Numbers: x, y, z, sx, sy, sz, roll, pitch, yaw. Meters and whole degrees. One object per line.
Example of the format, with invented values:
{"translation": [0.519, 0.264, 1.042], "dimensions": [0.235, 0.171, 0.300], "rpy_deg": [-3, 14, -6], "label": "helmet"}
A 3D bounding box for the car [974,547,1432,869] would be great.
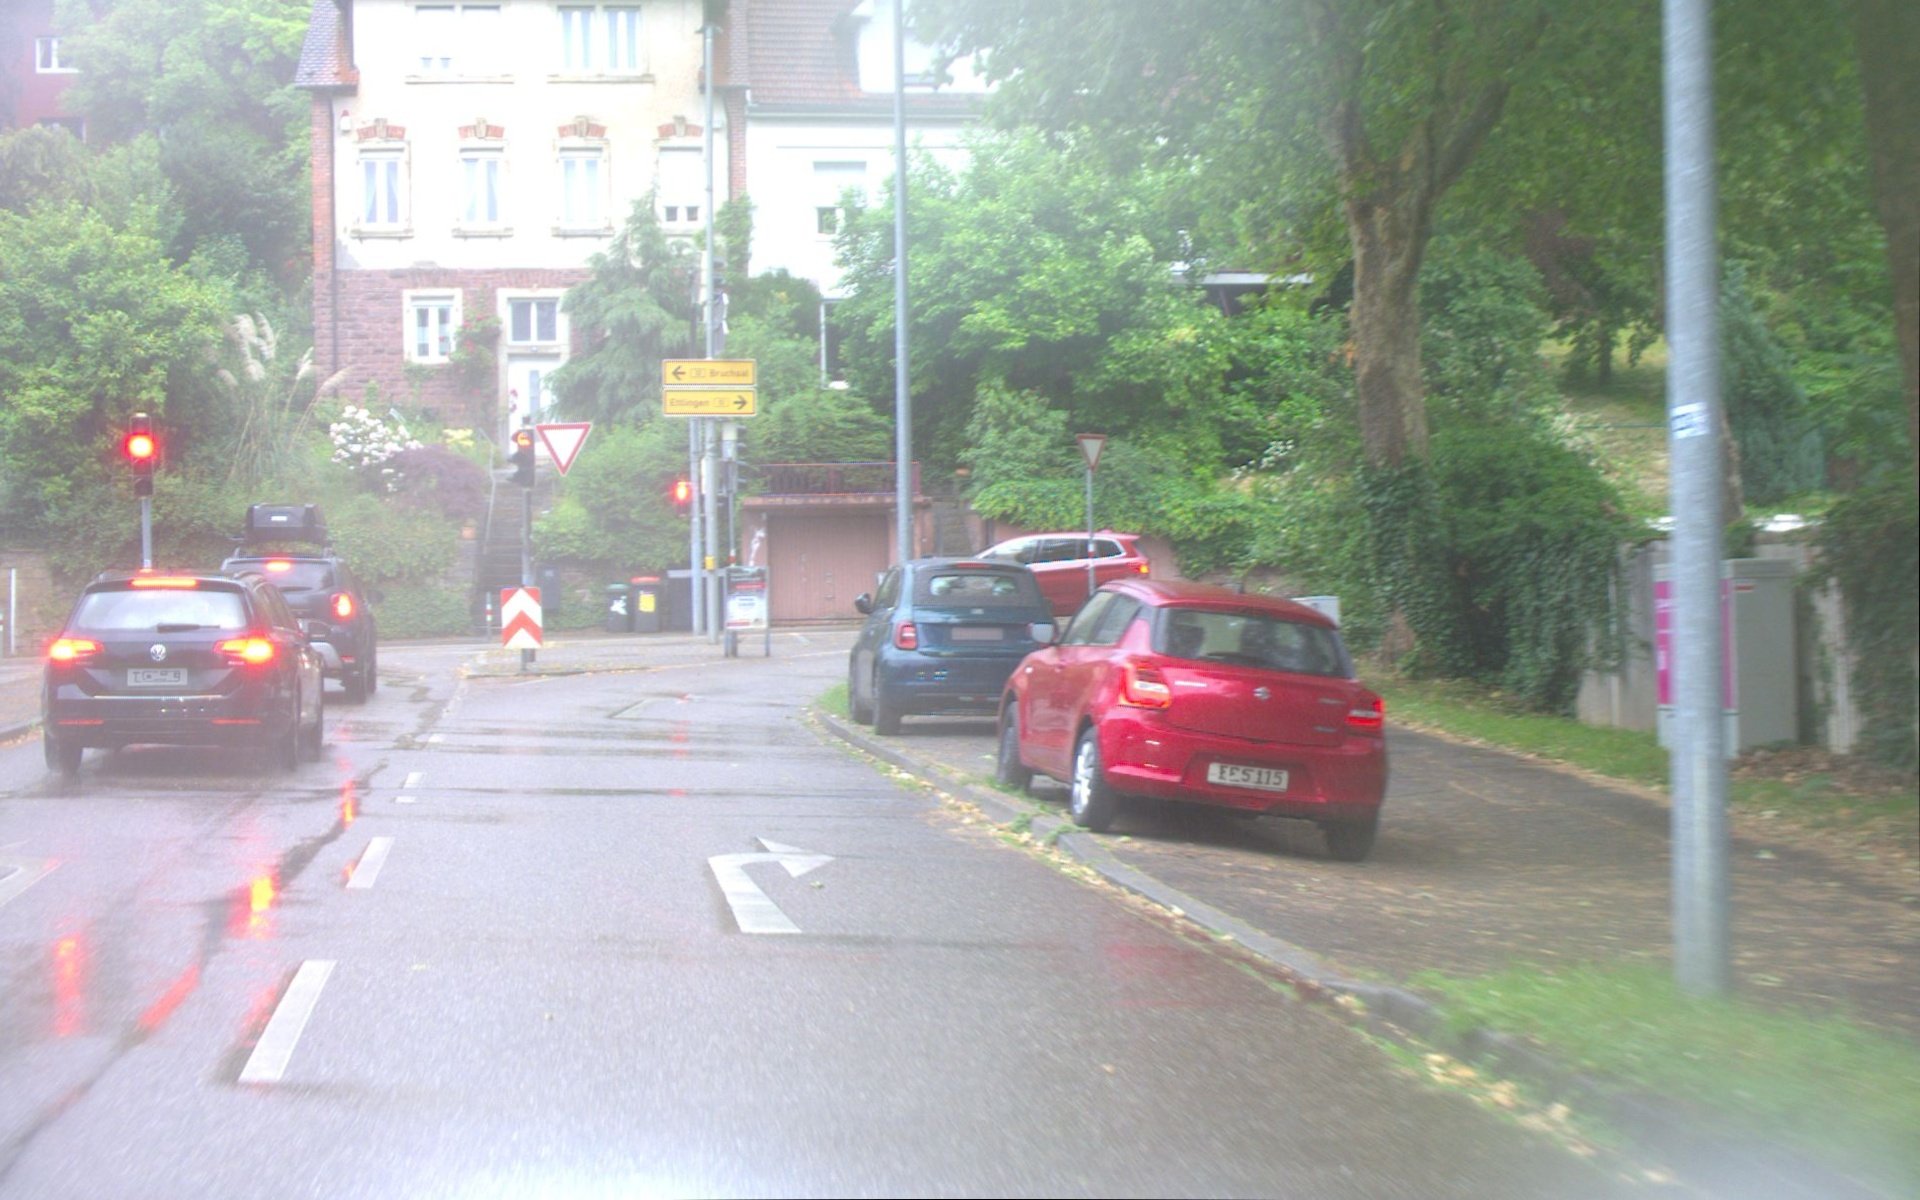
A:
{"translation": [1.364, 0.576, 20.919], "dimensions": [1.819, 1.512, 3.744], "rpy_deg": [7, 1, -9], "label": "car"}

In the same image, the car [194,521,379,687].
{"translation": [-7.419, -0.011, 38.195], "dimensions": [1.760, 1.705, 4.602], "rpy_deg": [1, 1, -8], "label": "car"}

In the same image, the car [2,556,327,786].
{"translation": [-5.885, 0.462, 25.928], "dimensions": [1.831, 1.451, 4.660], "rpy_deg": [2, 1, -7], "label": "car"}

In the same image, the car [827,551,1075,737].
{"translation": [-0.140, 0.361, 30.457], "dimensions": [1.749, 1.486, 3.600], "rpy_deg": [2, 0, -7], "label": "car"}

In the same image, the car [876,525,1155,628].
{"translation": [0.922, -0.390, 58.724], "dimensions": [4.567, 1.595, 1.775], "rpy_deg": [-2, -1, -5], "label": "car"}
